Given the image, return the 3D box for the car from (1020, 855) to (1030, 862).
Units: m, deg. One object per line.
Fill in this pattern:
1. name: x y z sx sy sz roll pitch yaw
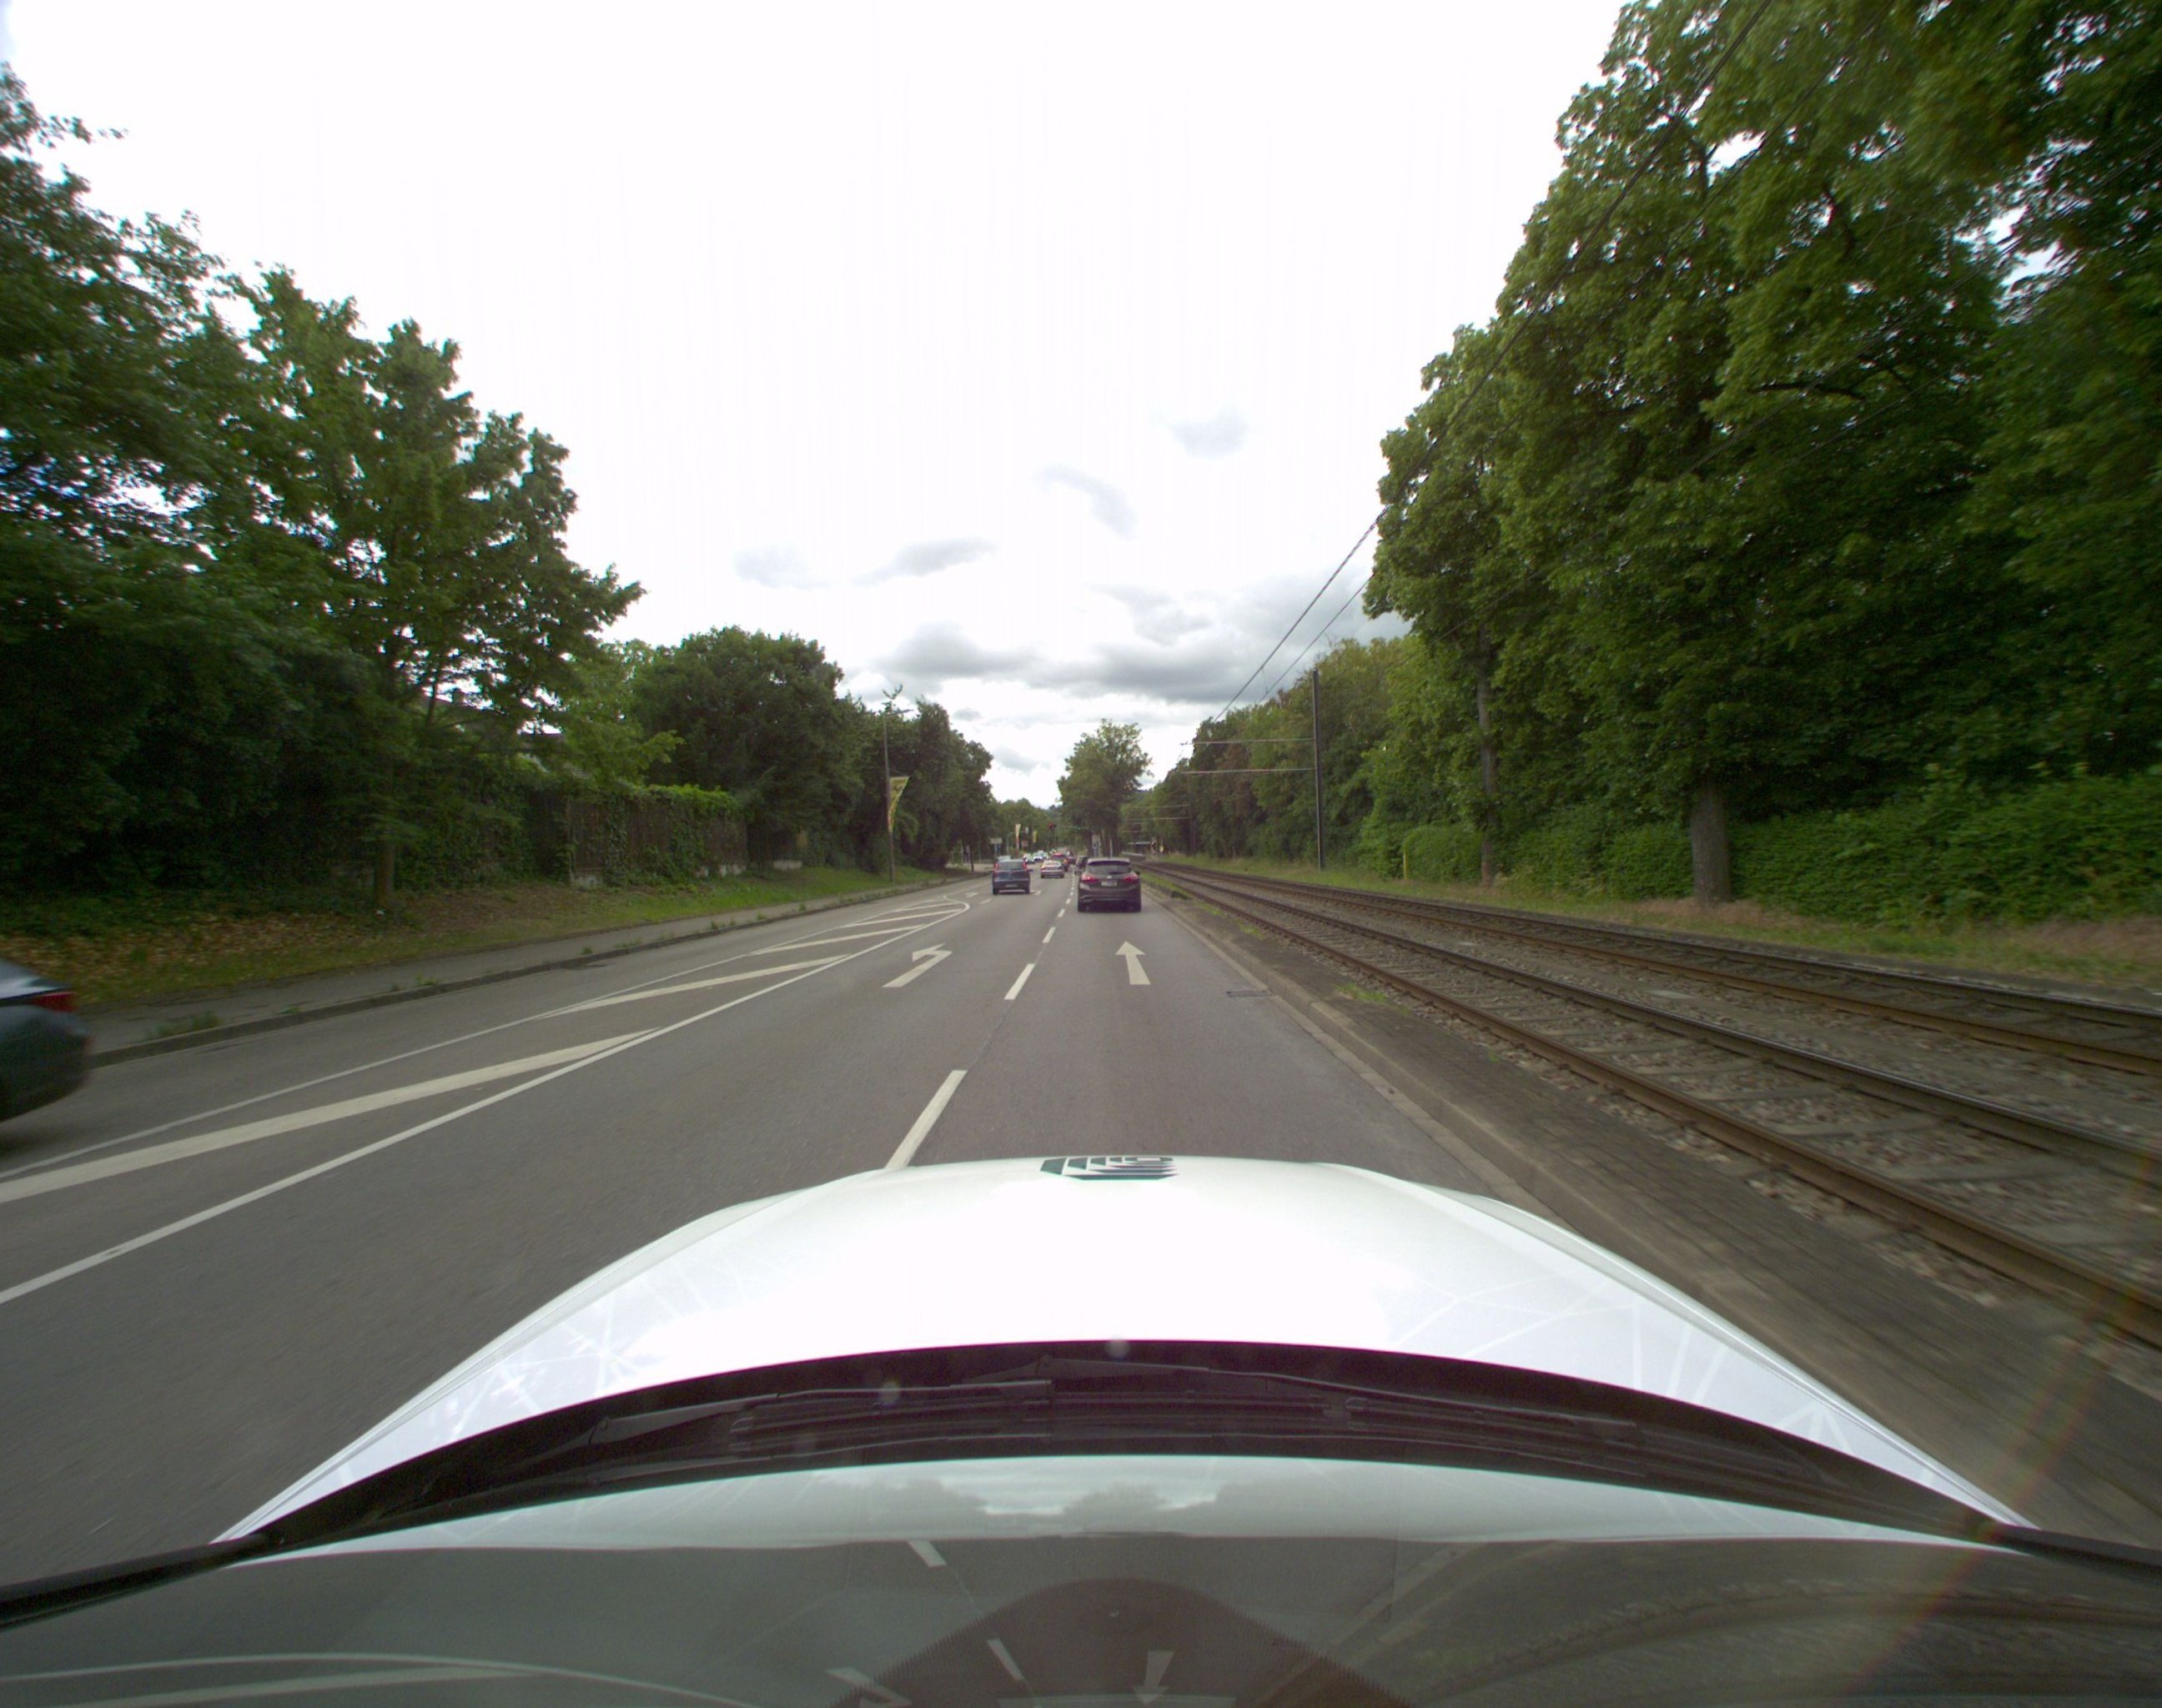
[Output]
1. car: -12.471 1.006 181.479 1.708 1.550 4.002 -1 -1 2

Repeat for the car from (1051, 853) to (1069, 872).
1. car: -2.139 0.884 84.021 1.710 1.864 3.999 -1 -1 0

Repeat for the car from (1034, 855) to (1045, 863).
1. car: -8.457 1.066 165.410 1.708 1.550 4.002 -1 -1 2

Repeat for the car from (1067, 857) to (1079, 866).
1. car: -1.371 1.228 134.547 1.708 1.550 4.002 -1 -1 2

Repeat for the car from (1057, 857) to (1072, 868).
1. car: -2.250 1.133 111.648 1.788 1.510 4.001 -1 0 1

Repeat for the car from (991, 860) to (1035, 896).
1. car: -2.960 1.013 36.006 1.695 1.443 3.997 -1 0 -2

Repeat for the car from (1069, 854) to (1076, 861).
1. car: -2.233 0.925 210.601 1.708 1.550 4.002 -1 -1 2

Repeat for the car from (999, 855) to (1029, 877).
1. car: -4.627 0.824 56.885 1.709 1.435 4.000 -1 -1 0

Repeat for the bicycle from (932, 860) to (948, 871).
1. bicycle: -14.355 1.172 83.045 0.494 1.107 1.811 -2 0 33

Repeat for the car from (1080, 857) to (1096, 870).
1. car: 0.807 1.148 96.971 1.708 1.550 4.002 -1 -1 2

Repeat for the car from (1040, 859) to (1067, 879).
1. car: -2.056 1.120 61.800 1.708 1.435 4.002 -1 -1 2

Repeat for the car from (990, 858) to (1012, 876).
1. car: -8.078 1.313 82.495 1.709 1.760 4.000 -1 -1 0

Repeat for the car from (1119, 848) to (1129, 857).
1. car: 8.266 -0.297 157.299 1.709 1.663 3.707 -1 -1 0

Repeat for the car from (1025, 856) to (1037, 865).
1. car: -9.008 1.229 146.071 1.708 1.550 4.002 -1 -1 2

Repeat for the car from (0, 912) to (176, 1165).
1. car: -7.060 1.140 3.274 1.836 1.375 4.445 -4 0 -1

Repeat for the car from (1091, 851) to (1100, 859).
1. car: 3.039 0.270 168.711 1.708 1.550 4.002 -1 -1 2

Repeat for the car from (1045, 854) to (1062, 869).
1. car: -3.422 0.937 101.328 1.708 1.864 4.002 -1 -1 2

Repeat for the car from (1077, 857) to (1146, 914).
1. car: 0.908 0.861 23.909 1.843 1.493 4.002 -1 0 2

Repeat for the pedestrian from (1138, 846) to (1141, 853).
1. pedestrian: 14.682 -1.060 205.649 0.645 1.661 0.650 -1 0 1

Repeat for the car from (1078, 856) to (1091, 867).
1. car: 0.482 1.066 113.528 1.708 1.550 4.002 -1 -1 2

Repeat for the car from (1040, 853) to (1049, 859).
1. car: -8.800 0.483 197.843 1.708 1.550 4.002 -1 -1 2
